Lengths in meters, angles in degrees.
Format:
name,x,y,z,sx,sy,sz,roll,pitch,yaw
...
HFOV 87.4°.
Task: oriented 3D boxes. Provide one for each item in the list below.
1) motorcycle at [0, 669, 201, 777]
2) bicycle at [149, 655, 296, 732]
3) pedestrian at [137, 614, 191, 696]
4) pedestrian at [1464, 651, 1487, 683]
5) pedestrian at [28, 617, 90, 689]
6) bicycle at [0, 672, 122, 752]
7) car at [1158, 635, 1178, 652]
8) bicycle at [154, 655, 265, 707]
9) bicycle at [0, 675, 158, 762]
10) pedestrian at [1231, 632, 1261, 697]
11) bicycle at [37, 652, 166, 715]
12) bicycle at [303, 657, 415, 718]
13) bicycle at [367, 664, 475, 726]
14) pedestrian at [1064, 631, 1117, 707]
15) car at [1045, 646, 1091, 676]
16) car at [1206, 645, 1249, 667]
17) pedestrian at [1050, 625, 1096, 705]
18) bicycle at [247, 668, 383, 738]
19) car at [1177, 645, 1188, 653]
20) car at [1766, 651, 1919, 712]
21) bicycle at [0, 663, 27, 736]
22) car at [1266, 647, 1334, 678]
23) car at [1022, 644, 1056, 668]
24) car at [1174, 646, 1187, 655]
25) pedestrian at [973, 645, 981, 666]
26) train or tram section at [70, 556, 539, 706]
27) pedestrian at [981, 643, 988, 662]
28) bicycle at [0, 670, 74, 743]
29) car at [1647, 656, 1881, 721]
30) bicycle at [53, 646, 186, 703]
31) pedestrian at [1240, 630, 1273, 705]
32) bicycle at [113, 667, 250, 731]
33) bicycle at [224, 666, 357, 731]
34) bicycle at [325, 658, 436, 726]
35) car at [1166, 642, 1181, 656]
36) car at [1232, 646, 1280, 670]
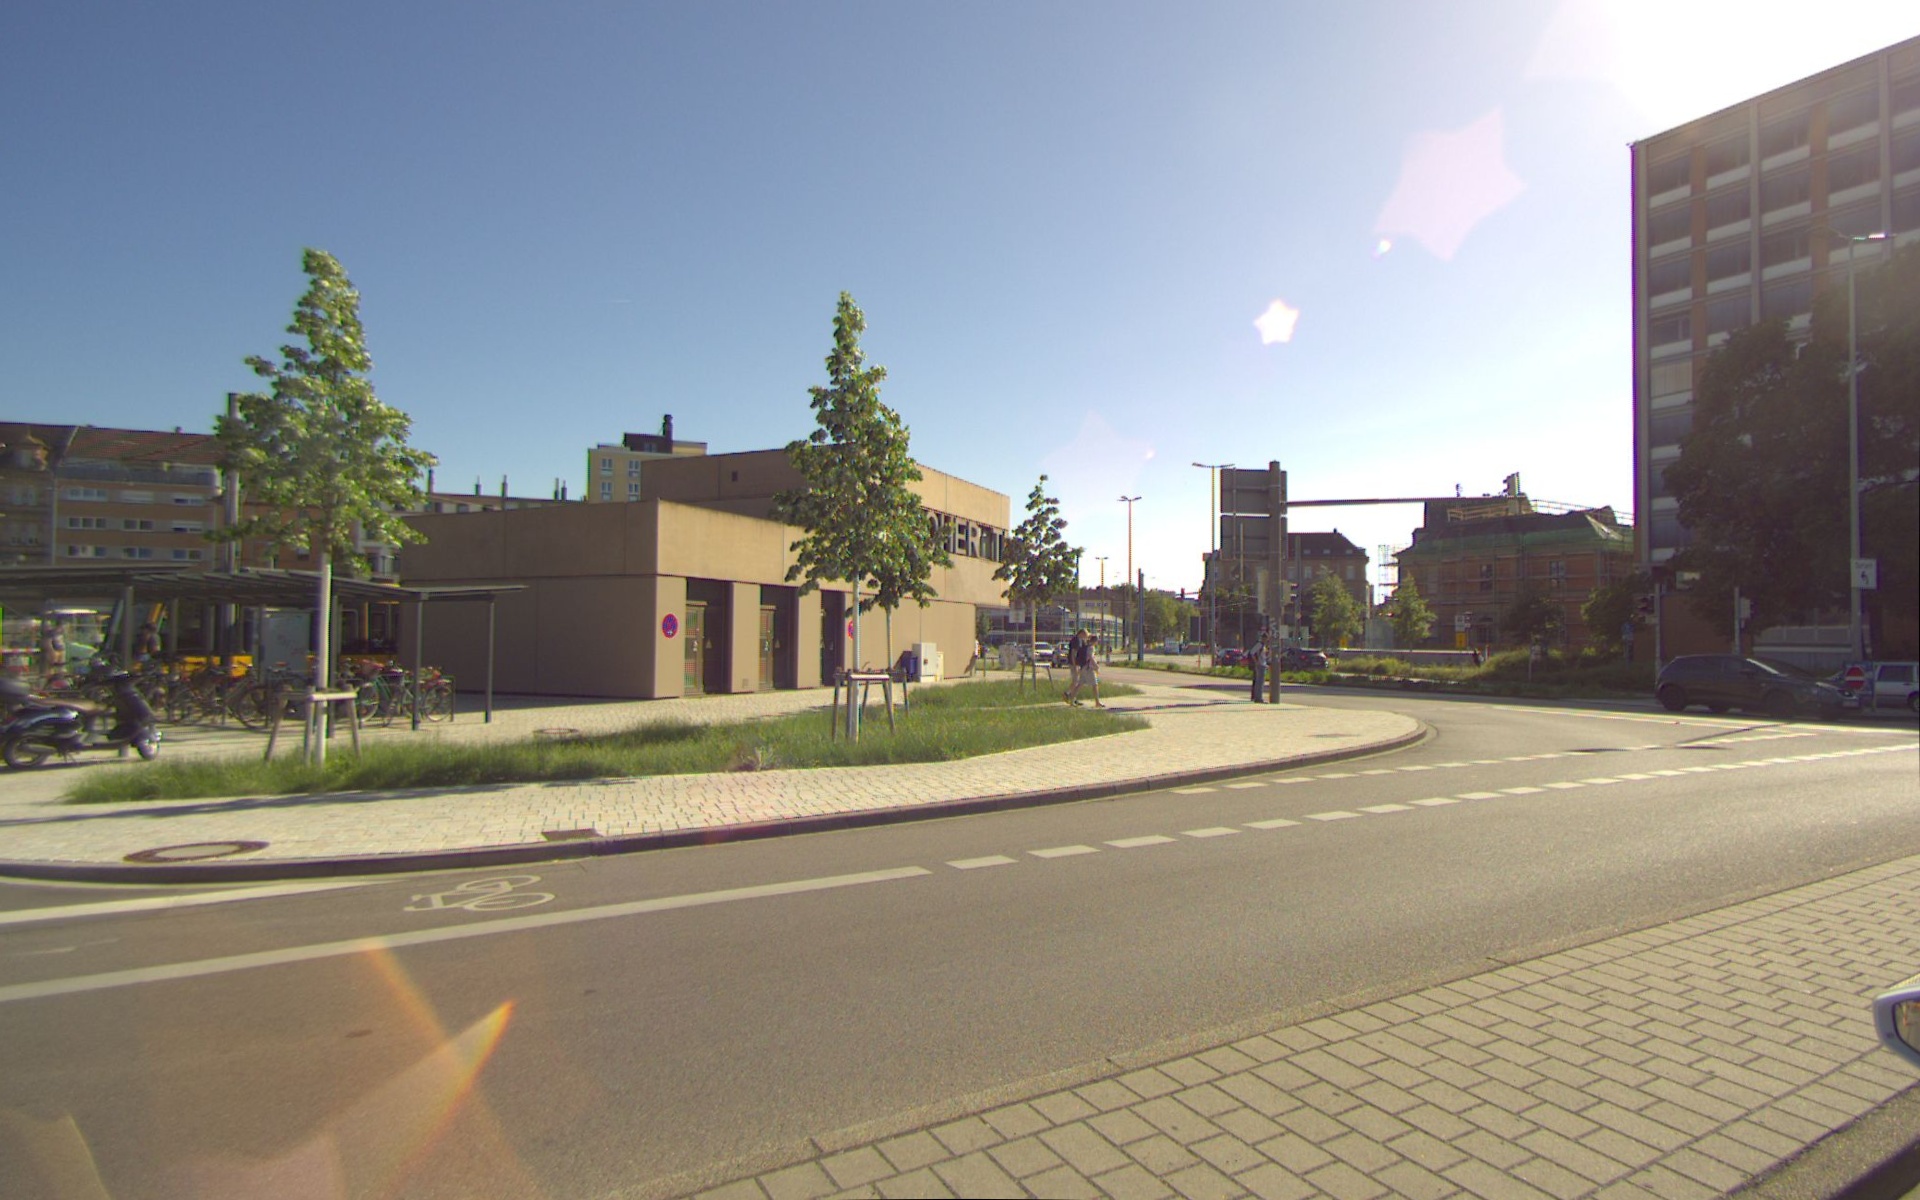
name,x,y,z,sx,sy,sz,roll,pitch,yaw
motorcycle,-10.919,1.480,12.478,0.599,1.173,2.360,0,-2,25
bicycle,-12.887,1.601,17.632,0.496,1.225,2.051,0,-2,26
pedestrian,-18.539,1.276,23.408,0.738,1.880,0.709,1,-2,-19
pedestrian,33.261,4.313,64.806,0.995,2.040,0.826,0,-2,-4
pedestrian,-26.260,1.541,29.292,0.854,2.040,1.012,0,-2,19
bicycle,-13.120,1.559,14.075,0.617,1.021,2.026,0,-2,25
car,33.242,6.949,160.211,2.952,2.580,6.963,0,-2,13
bicycle,-16.256,1.735,21.807,0.617,1.021,1.829,0,-2,25
bicycle,-12.037,1.560,13.523,0.617,1.021,1.829,0,-2,25
pedestrian,7.673,1.727,26.956,0.594,1.719,0.634,1,-2,-7
bicycle,-16.910,1.611,19.832,0.617,1.146,1.828,0,-2,27
bicycle,-11.744,1.689,19.692,0.617,1.107,1.829,0,-2,25
bicycle,-9.821,1.711,18.387,0.616,1.021,1.832,0,-2,16
pedestrian,3.025,1.586,23.307,1.006,1.727,0.837,1,-2,-10
car,6.798,3.833,63.618,1.963,1.814,3.995,1,-2,-8
car,20.061,4.209,75.504,1.962,1.538,3.818,1,-2,-4
pedestrian,2.699,1.537,24.053,0.852,1.869,0.839,1,-2,-16
bicycle,-10.671,1.680,16.686,0.617,1.021,1.828,0,-2,27
car,46.578,10.278,210.146,2.024,1.458,4.060,0,-2,14
car,26.671,2.320,29.123,1.910,1.614,4.854,1,-2,-22
bicycle,-15.271,1.517,15.015,0.617,1.094,1.829,0,-2,25
car,18.560,3.406,54.958,1.803,1.591,3.993,1,-2,-11
car,6.205,4.392,79.296,1.869,1.728,3.996,1,-1,-7
car,41.627,9.579,189.641,2.059,1.602,4.861,-1,-2,15
pedestrian,1.733,5.568,101.272,0.708,2.040,0.718,0,-2,6
train or tram section,-18.780,0.975,30.577,2.702,3.648,12.318,0,-2,25
pedestrian,2.616,5.657,107.940,0.708,2.040,0.718,0,-2,7
bicycle,-14.104,1.551,14.516,0.617,1.021,1.829,0,-2,25
car,19.160,2.060,24.172,1.968,1.407,3.986,1,-3,-17
bicycle,-15.991,1.393,19.170,0.617,1.021,1.828,0,-2,27
pedestrian,7.555,1.699,25.619,0.594,1.880,0.681,1,-2,-7
bicycle,-13.864,1.743,17.941,0.617,1.021,1.828,0,-2,27
bicycle,-11.614,1.681,17.503,0.492,1.010,1.887,0,-2,31
bicycle,-10.741,1.677,18.686,0.616,1.161,1.831,0,-2,18
car,30.870,7.064,145.446,2.030,2.040,5.019,0,-2,10
car,20.290,3.940,68.998,1.962,1.538,3.818,1,-2,-4
